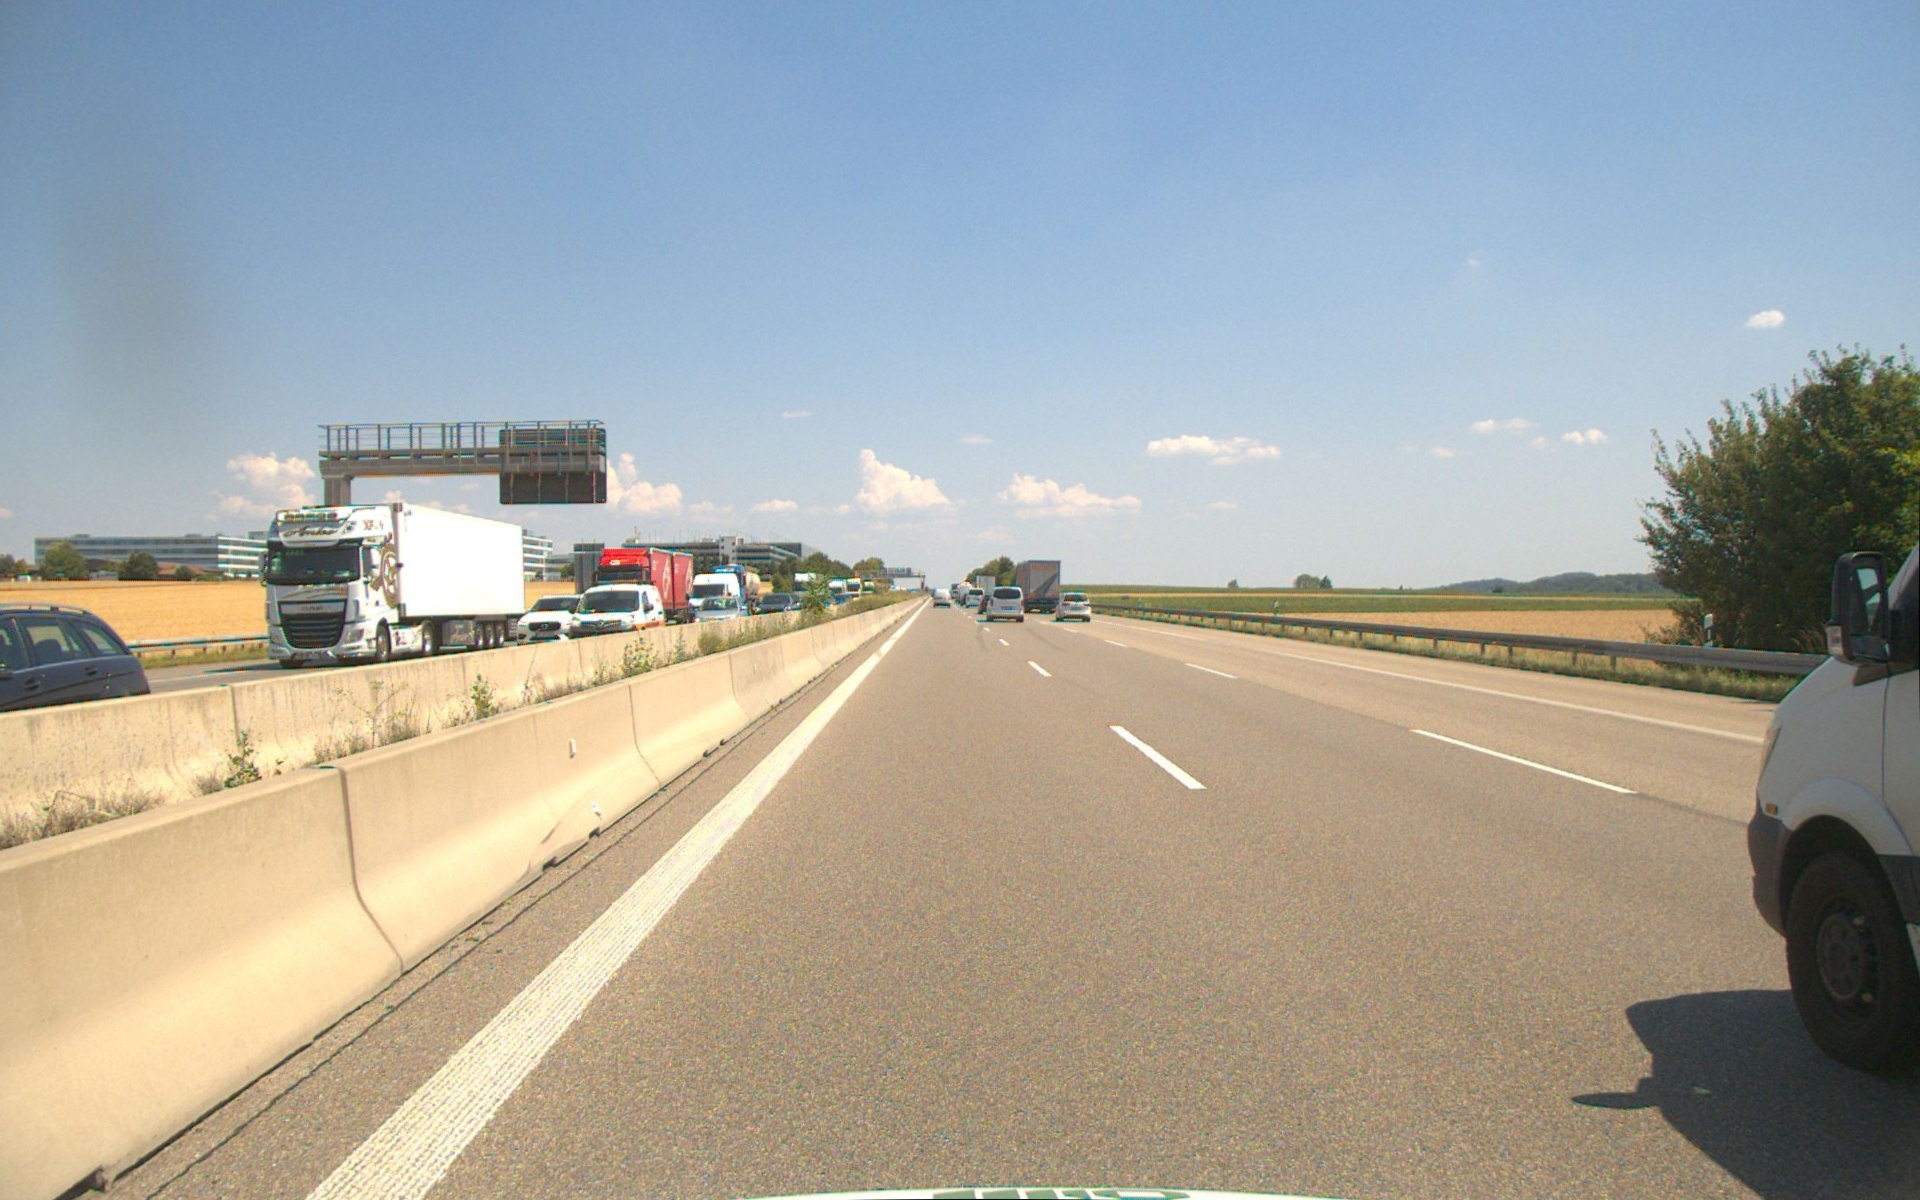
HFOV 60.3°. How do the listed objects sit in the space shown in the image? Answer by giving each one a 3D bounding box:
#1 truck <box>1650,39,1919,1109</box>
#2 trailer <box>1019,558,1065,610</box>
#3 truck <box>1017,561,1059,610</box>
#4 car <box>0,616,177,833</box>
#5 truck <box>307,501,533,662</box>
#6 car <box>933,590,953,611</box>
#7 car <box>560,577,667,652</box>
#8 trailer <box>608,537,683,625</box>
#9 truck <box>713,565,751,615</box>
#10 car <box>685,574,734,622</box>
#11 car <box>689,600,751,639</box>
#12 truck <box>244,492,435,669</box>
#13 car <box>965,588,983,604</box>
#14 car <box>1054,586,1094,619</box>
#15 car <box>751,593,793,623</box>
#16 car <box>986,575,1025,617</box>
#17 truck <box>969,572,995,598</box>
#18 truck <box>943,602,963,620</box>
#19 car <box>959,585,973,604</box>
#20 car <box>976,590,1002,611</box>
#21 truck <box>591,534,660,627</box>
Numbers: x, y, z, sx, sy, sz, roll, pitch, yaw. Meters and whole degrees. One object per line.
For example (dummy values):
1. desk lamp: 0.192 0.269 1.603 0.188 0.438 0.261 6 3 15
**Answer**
1. truck: 3.981 -0.058 3.198 2.274 3.121 6.749 1 0 -2
2. trailer: 6.577 -1.233 133.949 3.211 4.037 9.110 0 -1 -1
3. truck: 6.514 -1.165 138.223 3.204 4.037 4.911 0 -1 -1
4. car: -7.702 0.910 12.448 1.639 1.513 4.396 0 0 -2
5. truck: -16.209 -0.538 50.971 2.890 4.230 12.863 -2 0 -1
6. car: -1.720 0.051 167.129 1.953 2.049 3.999 0 -1 -1
7. car: -8.624 0.326 41.544 1.779 1.784 4.991 0 0 -2
8. trailer: -17.367 -1.022 91.798 2.720 4.678 8.599 0 0 -2
9. truck: -17.045 -0.733 124.097 2.067 3.663 7.118 0 0 -2
10. car: -12.820 -0.117 85.003 1.822 2.377 5.705 0 0 -2
11. car: -8.670 0.684 60.003 1.779 1.374 3.772 0 0 -2
12. truck: -16.039 -0.487 43.154 2.890 4.230 5.470 -2 0 -1
13. car: 1.442 -0.395 167.073 1.737 1.473 3.999 0 -1 -1
14. car: 6.483 0.159 94.568 1.953 1.825 3.999 0 -1 -1
15. car: -8.855 0.361 78.096 1.683 1.374 3.772 0 0 -2
16. car: 2.433 -0.187 89.303 1.953 2.157 3.999 0 -1 -1
17. truck: 3.340 -2.275 256.510 3.738 3.973 9.578 -1 0 -1
18. truck: -0.774 1.221 188.285 2.167 2.049 4.970 0 0 -2
19. car: 0.824 -0.679 221.367 1.737 2.434 3.999 0 -1 -1
20. car: 2.084 0.031 120.431 1.737 1.473 3.999 0 -1 -1
21. truck: -17.184 -0.984 85.297 2.720 4.678 4.722 0 0 -2
